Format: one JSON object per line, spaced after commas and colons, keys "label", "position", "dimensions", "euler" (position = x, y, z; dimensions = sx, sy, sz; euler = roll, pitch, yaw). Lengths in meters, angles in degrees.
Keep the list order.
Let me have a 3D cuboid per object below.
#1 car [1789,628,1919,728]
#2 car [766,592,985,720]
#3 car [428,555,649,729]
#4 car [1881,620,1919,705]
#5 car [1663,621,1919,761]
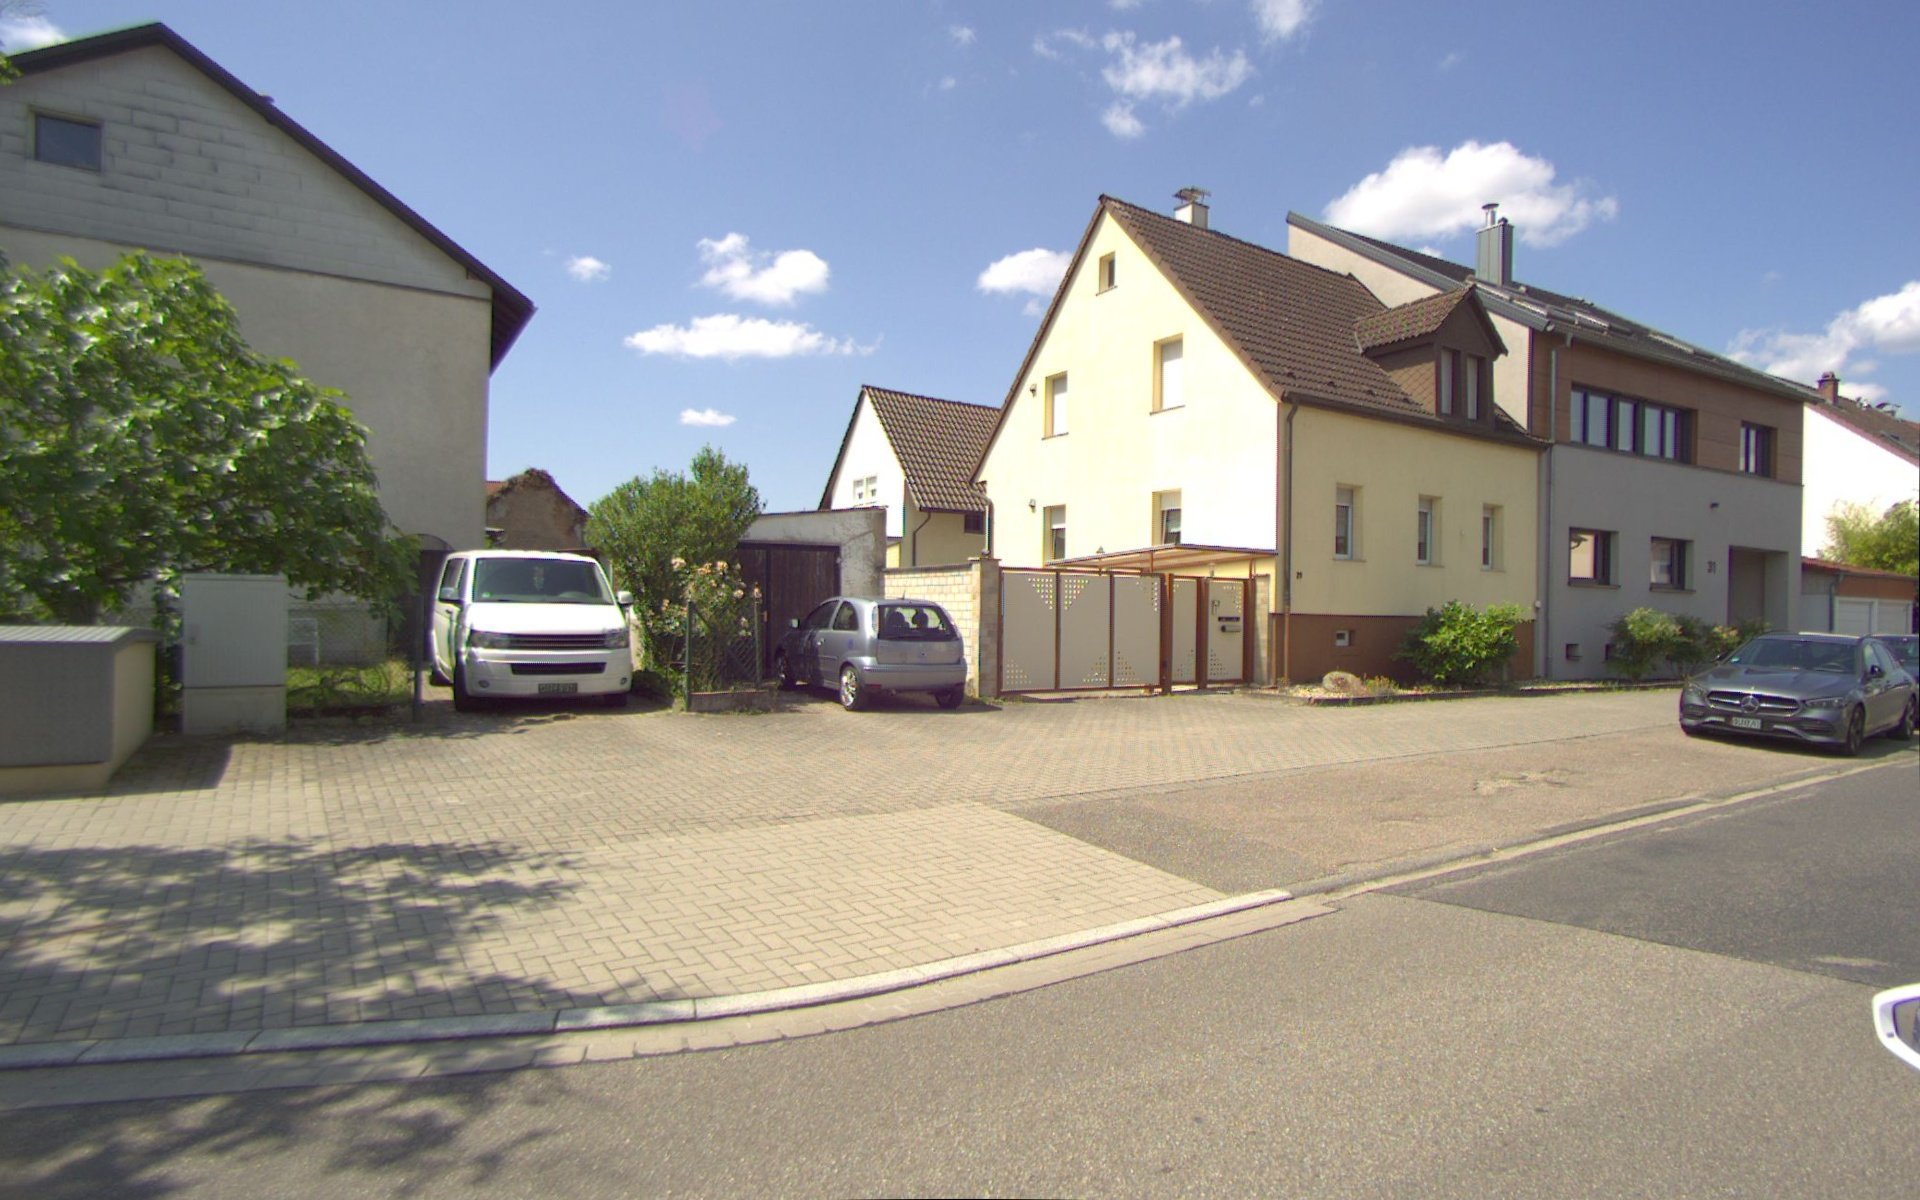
{"label": "car", "position": [16.093, 1.270, 17.172], "dimensions": [4.096, 1.453, 1.805], "euler": [2, 1, -34]}
{"label": "car", "position": [-1.309, 0.676, 14.070], "dimensions": [1.770, 1.490, 3.509], "euler": [1, 1, -29]}
{"label": "car", "position": [-5.494, 0.407, 12.784], "dimensions": [1.978, 1.824, 3.965], "euler": [1, 1, -32]}
{"label": "car", "position": [20.627, 1.292, 20.497], "dimensions": [3.958, 1.630, 1.768], "euler": [2, 1, -34]}
{"label": "car", "position": [11.584, 1.125, 13.884], "dimensions": [4.100, 1.453, 1.803], "euler": [0, 4, -37]}
